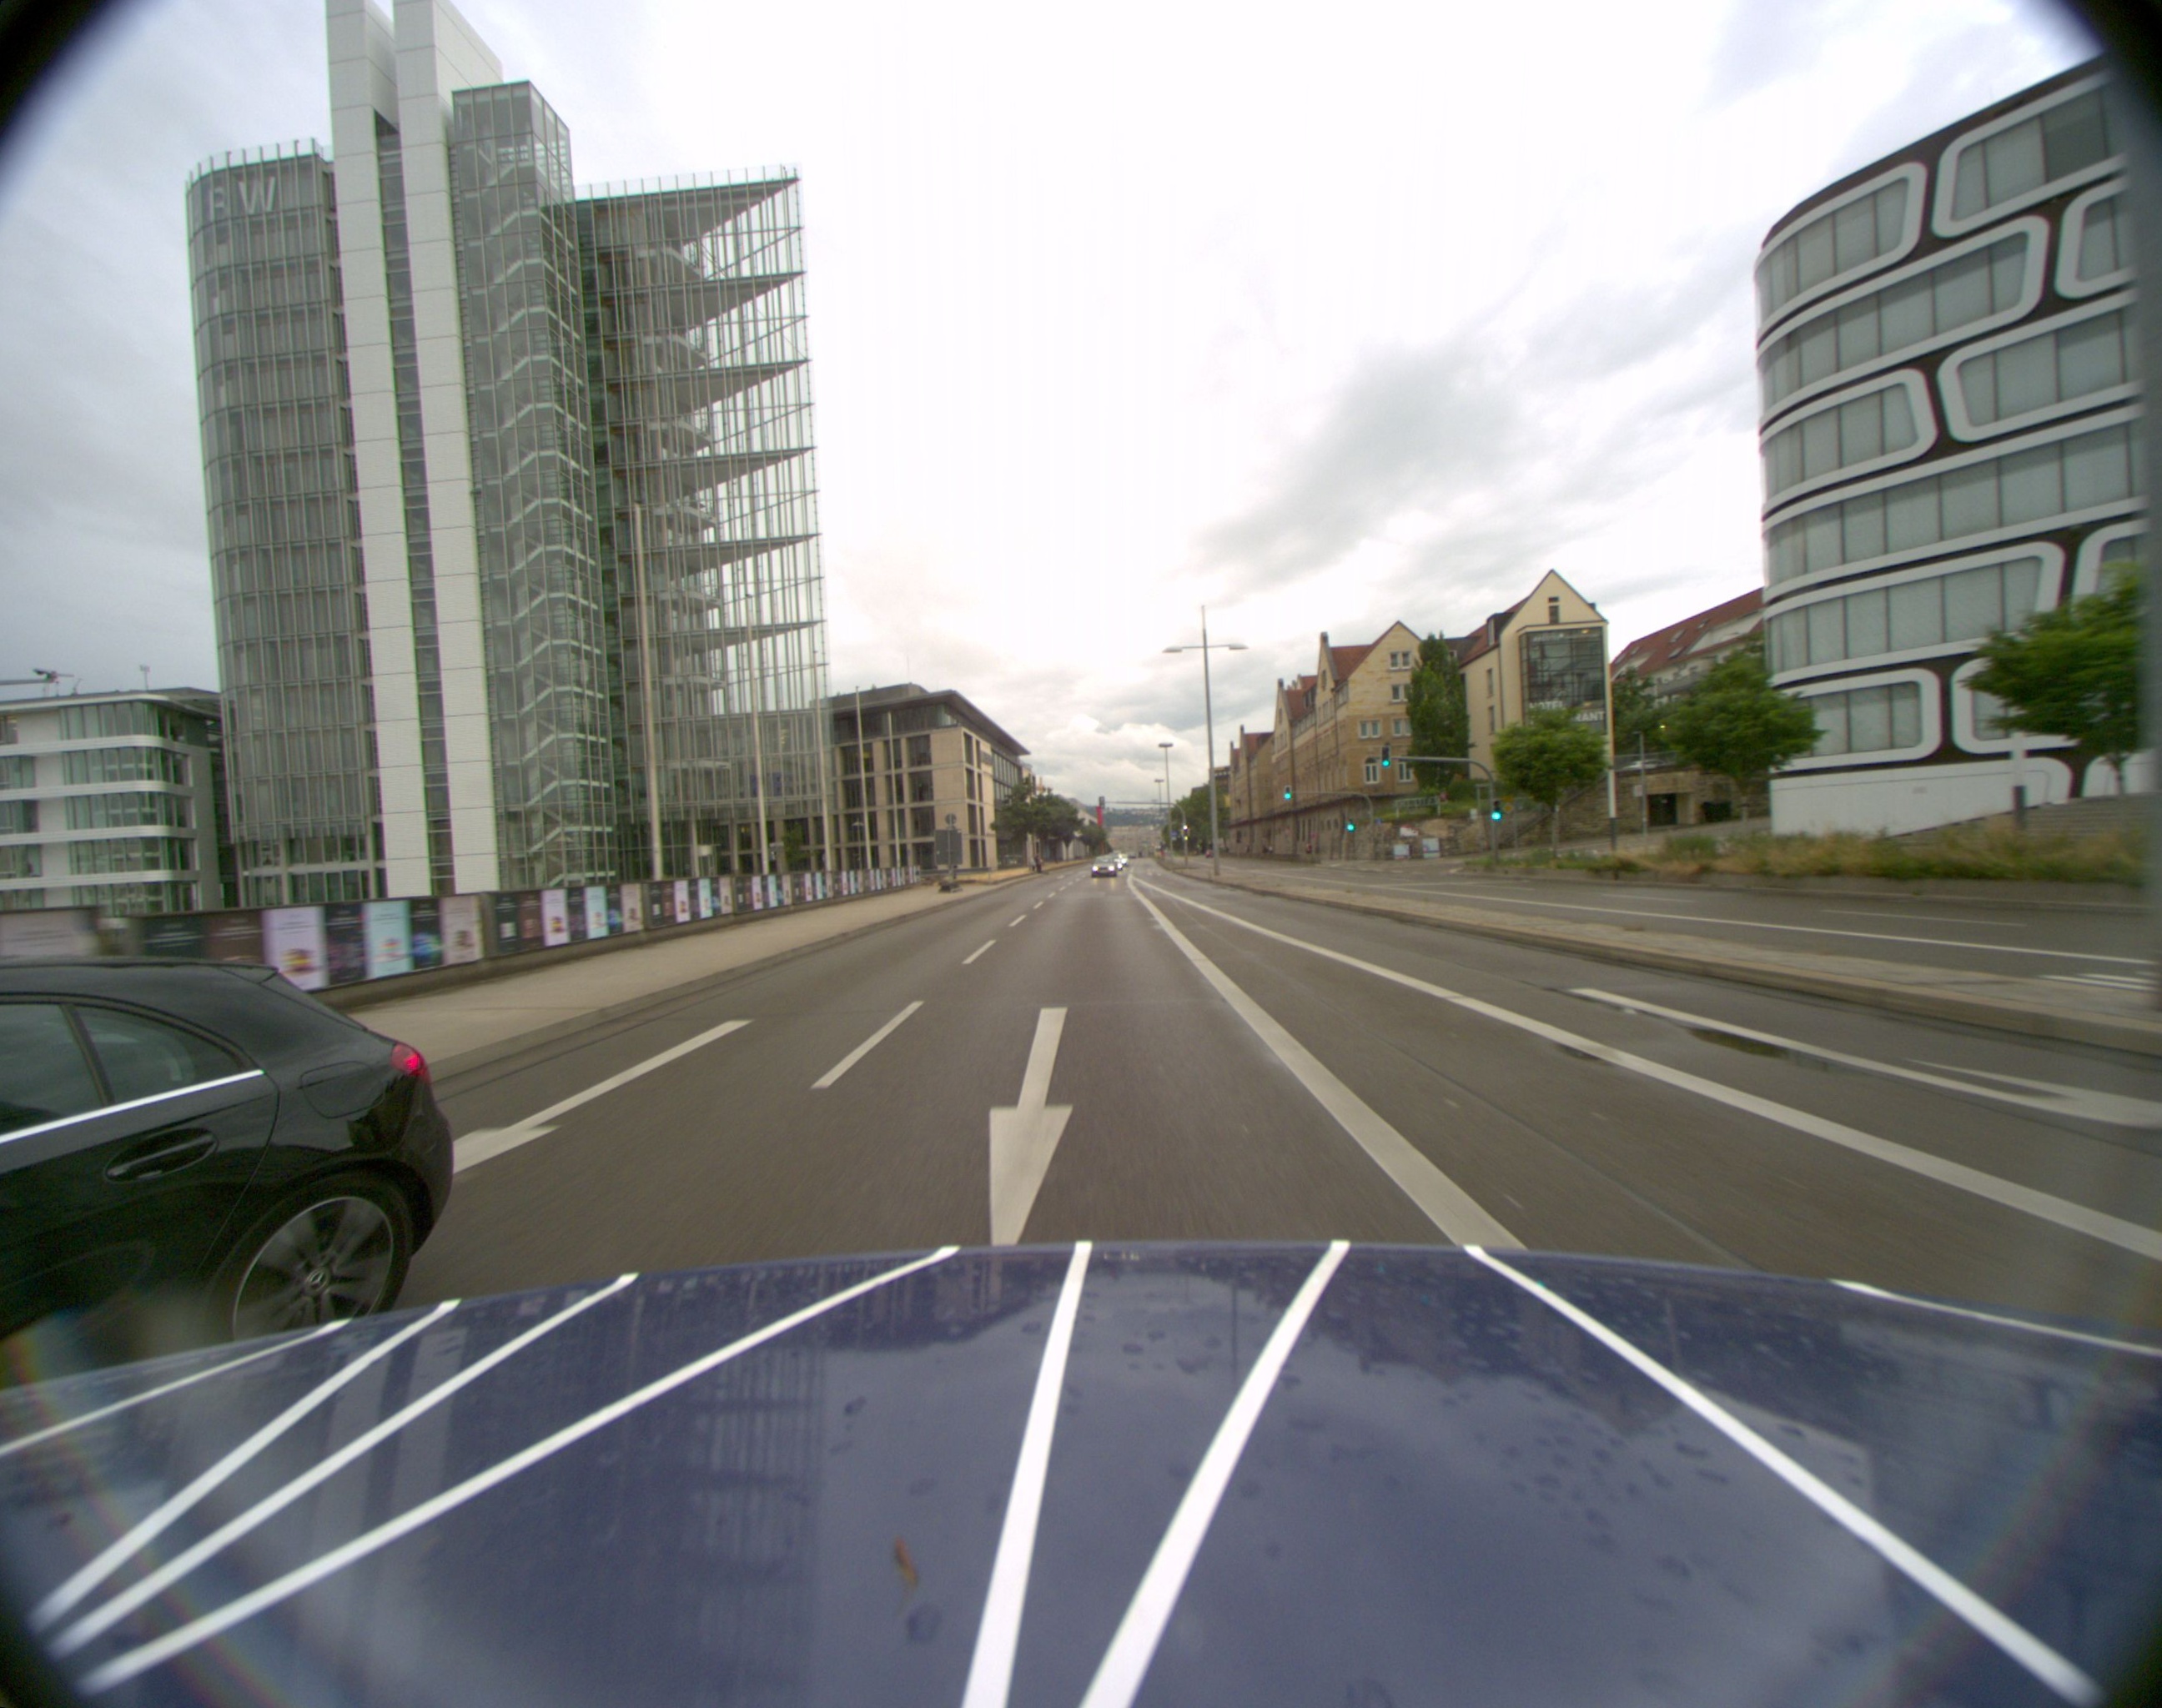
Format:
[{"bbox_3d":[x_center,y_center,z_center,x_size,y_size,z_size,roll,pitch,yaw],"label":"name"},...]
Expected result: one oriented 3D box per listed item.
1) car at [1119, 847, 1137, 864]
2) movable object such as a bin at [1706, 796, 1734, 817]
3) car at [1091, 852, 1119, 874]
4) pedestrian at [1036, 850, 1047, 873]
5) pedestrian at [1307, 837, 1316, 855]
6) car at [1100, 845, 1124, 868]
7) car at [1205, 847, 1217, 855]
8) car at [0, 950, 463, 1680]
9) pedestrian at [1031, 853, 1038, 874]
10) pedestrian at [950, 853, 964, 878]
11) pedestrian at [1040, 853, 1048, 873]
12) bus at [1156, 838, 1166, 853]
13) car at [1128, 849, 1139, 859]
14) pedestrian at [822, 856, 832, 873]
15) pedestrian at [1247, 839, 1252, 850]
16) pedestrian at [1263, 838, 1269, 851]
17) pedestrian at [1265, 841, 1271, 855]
[{"bbox_3d":[5.566,0.211,88.803,1.970,1.815,3.929,-3,-1,4],"label":"car"},{"bbox_3d":[43.186,-3.203,51.363,0.826,1.236,1.119,-10,-1,4],"label":"movable object such as a bin"},{"bbox_3d":[1.672,0.584,53.174,1.684,1.379,3.474,-2,1,-2],"label":"car"},{"bbox_3d":[-3.221,0.612,61.868,0.728,1.761,0.783,-2,2,0],"label":"pedestrian"},{"bbox_3d":[23.413,-0.779,77.099,0.677,1.769,0.684,-2,2,5],"label":"pedestrian"},{"bbox_3d":[2.895,0.197,69.472,1.998,2.002,4.000,-2,1,4],"label":"car"},{"bbox_3d":[23.112,-0.524,134.959,1.714,1.455,4.001,-3,0,5],"label":"car"},{"bbox_3d":[-3.172,1.109,0.694,1.727,1.368,4.154,-2,1,0],"label":"car"},{"bbox_3d":[-3.648,0.738,60.096,0.461,1.590,0.656,-2,2,-8],"label":"pedestrian"},{"bbox_3d":[-7.985,0.733,49.001,0.660,1.601,0.547,-3,1,5],"label":"pedestrian"},{"bbox_3d":[-2.969,0.717,60.821,0.542,1.519,0.600,-2,2,-4],"label":"pedestrian"},{"bbox_3d":[23.569,-2.496,224.609,2.499,3.316,8.457,-2,-6,5],"label":"bus"},{"bbox_3d":[11.650,-0.034,168.383,1.999,2.002,3.998,-2,1,-3],"label":"car"},{"bbox_3d":[-26.332,1.065,78.644,0.634,1.735,0.635,-1,2,25],"label":"pedestrian"},{"bbox_3d":[27.167,-1.596,122.796,0.677,1.769,0.684,-2,2,5],"label":"pedestrian"},{"bbox_3d":[26.059,-1.304,106.835,0.677,1.769,0.684,-2,2,5],"label":"pedestrian"},{"bbox_3d":[24.306,-0.782,98.822,0.677,1.769,0.684,-2,2,5],"label":"pedestrian"}]
